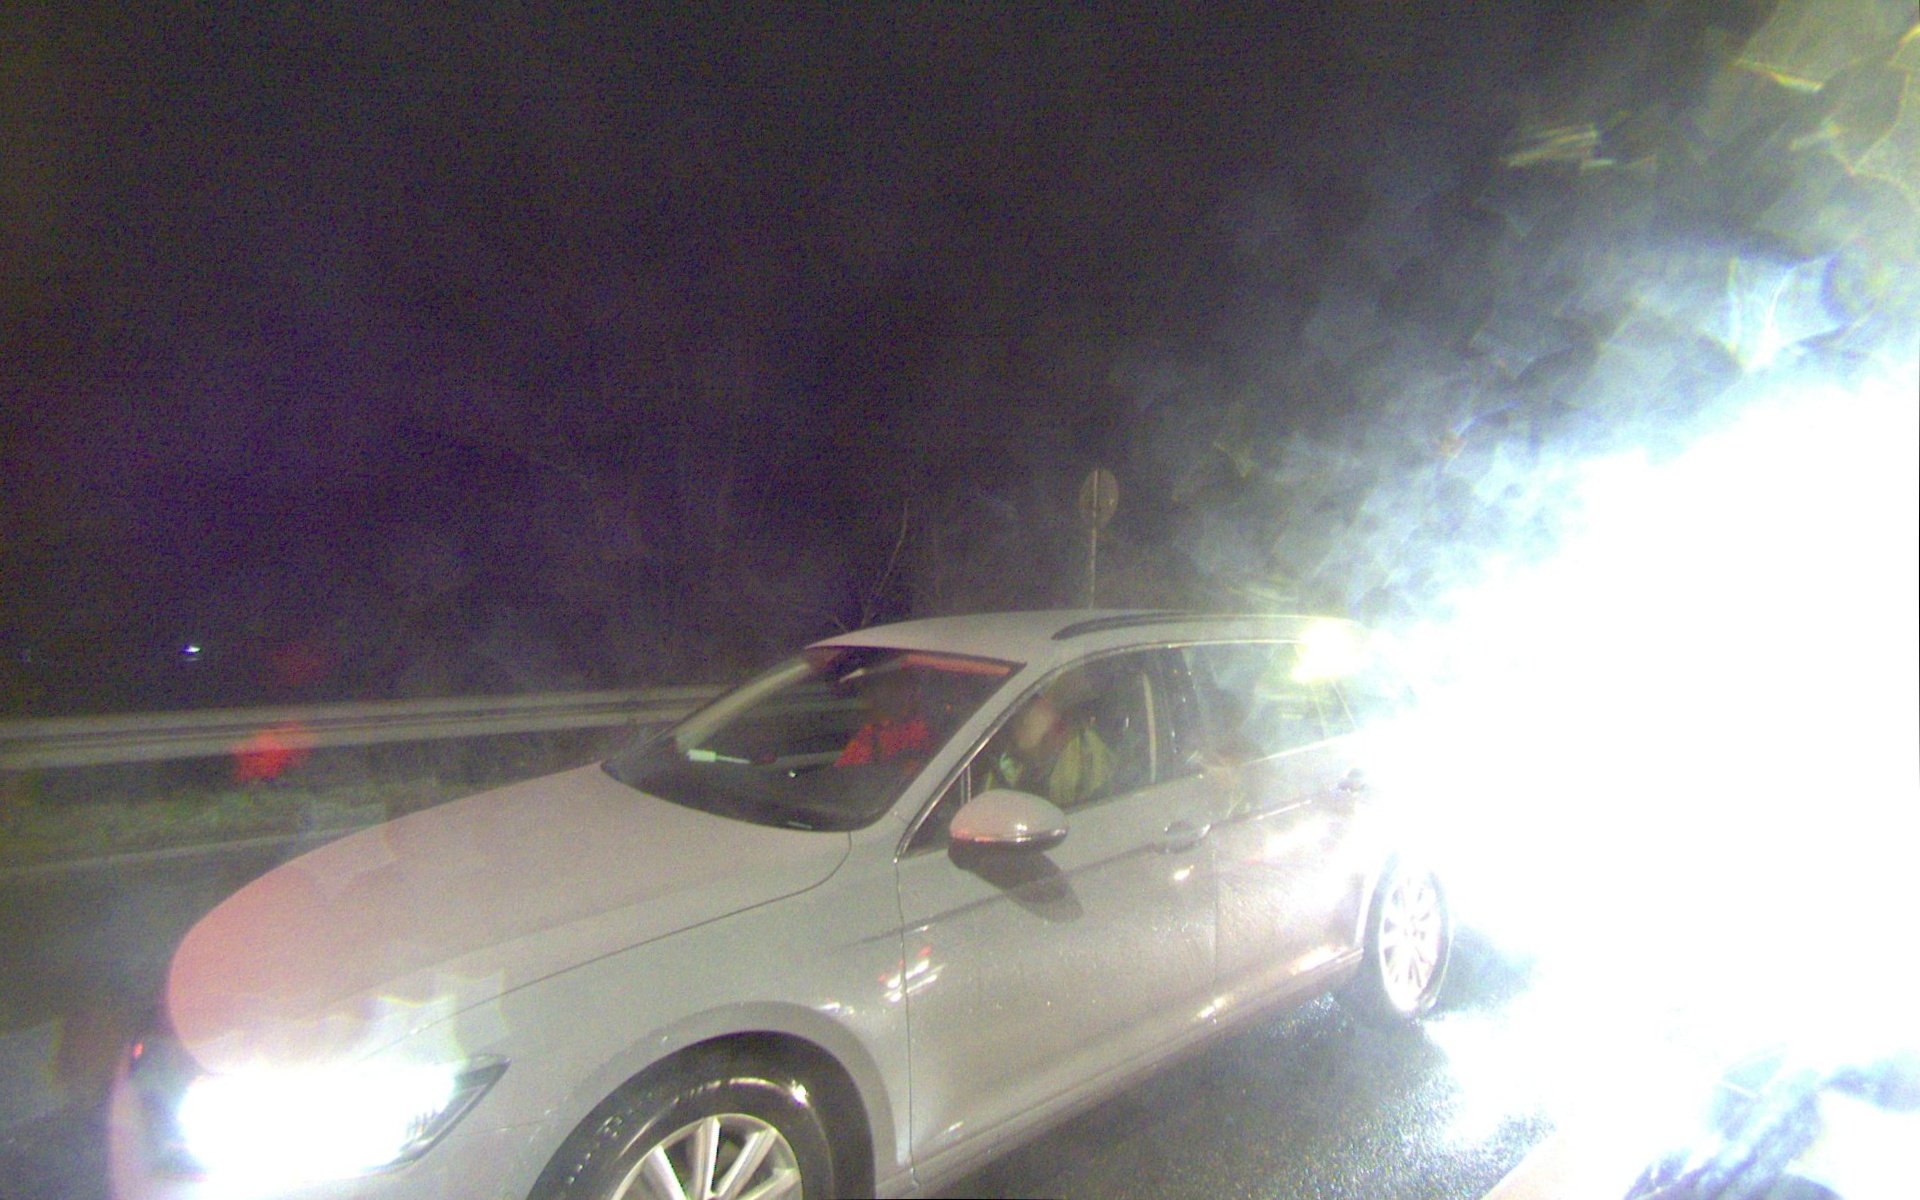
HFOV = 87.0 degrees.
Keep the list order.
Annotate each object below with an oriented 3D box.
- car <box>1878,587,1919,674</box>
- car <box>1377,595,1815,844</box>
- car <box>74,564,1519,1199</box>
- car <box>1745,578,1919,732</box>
[{"bbox_3d":[19.840,0.562,20.008,4.315,1.618,1.997,-1,2,-41],"label":"car"},{"bbox_3d":[5.123,0.696,7.936,4.066,1.435,1.742,-1,0,-40],"label":"car"},{"bbox_3d":[0.030,0.701,3.301,4.336,1.541,1.710,-1,0,-40],"label":"car"},{"bbox_3d":[11.480,0.555,12.501,4.315,1.618,1.997,-1,2,-41],"label":"car"}]
